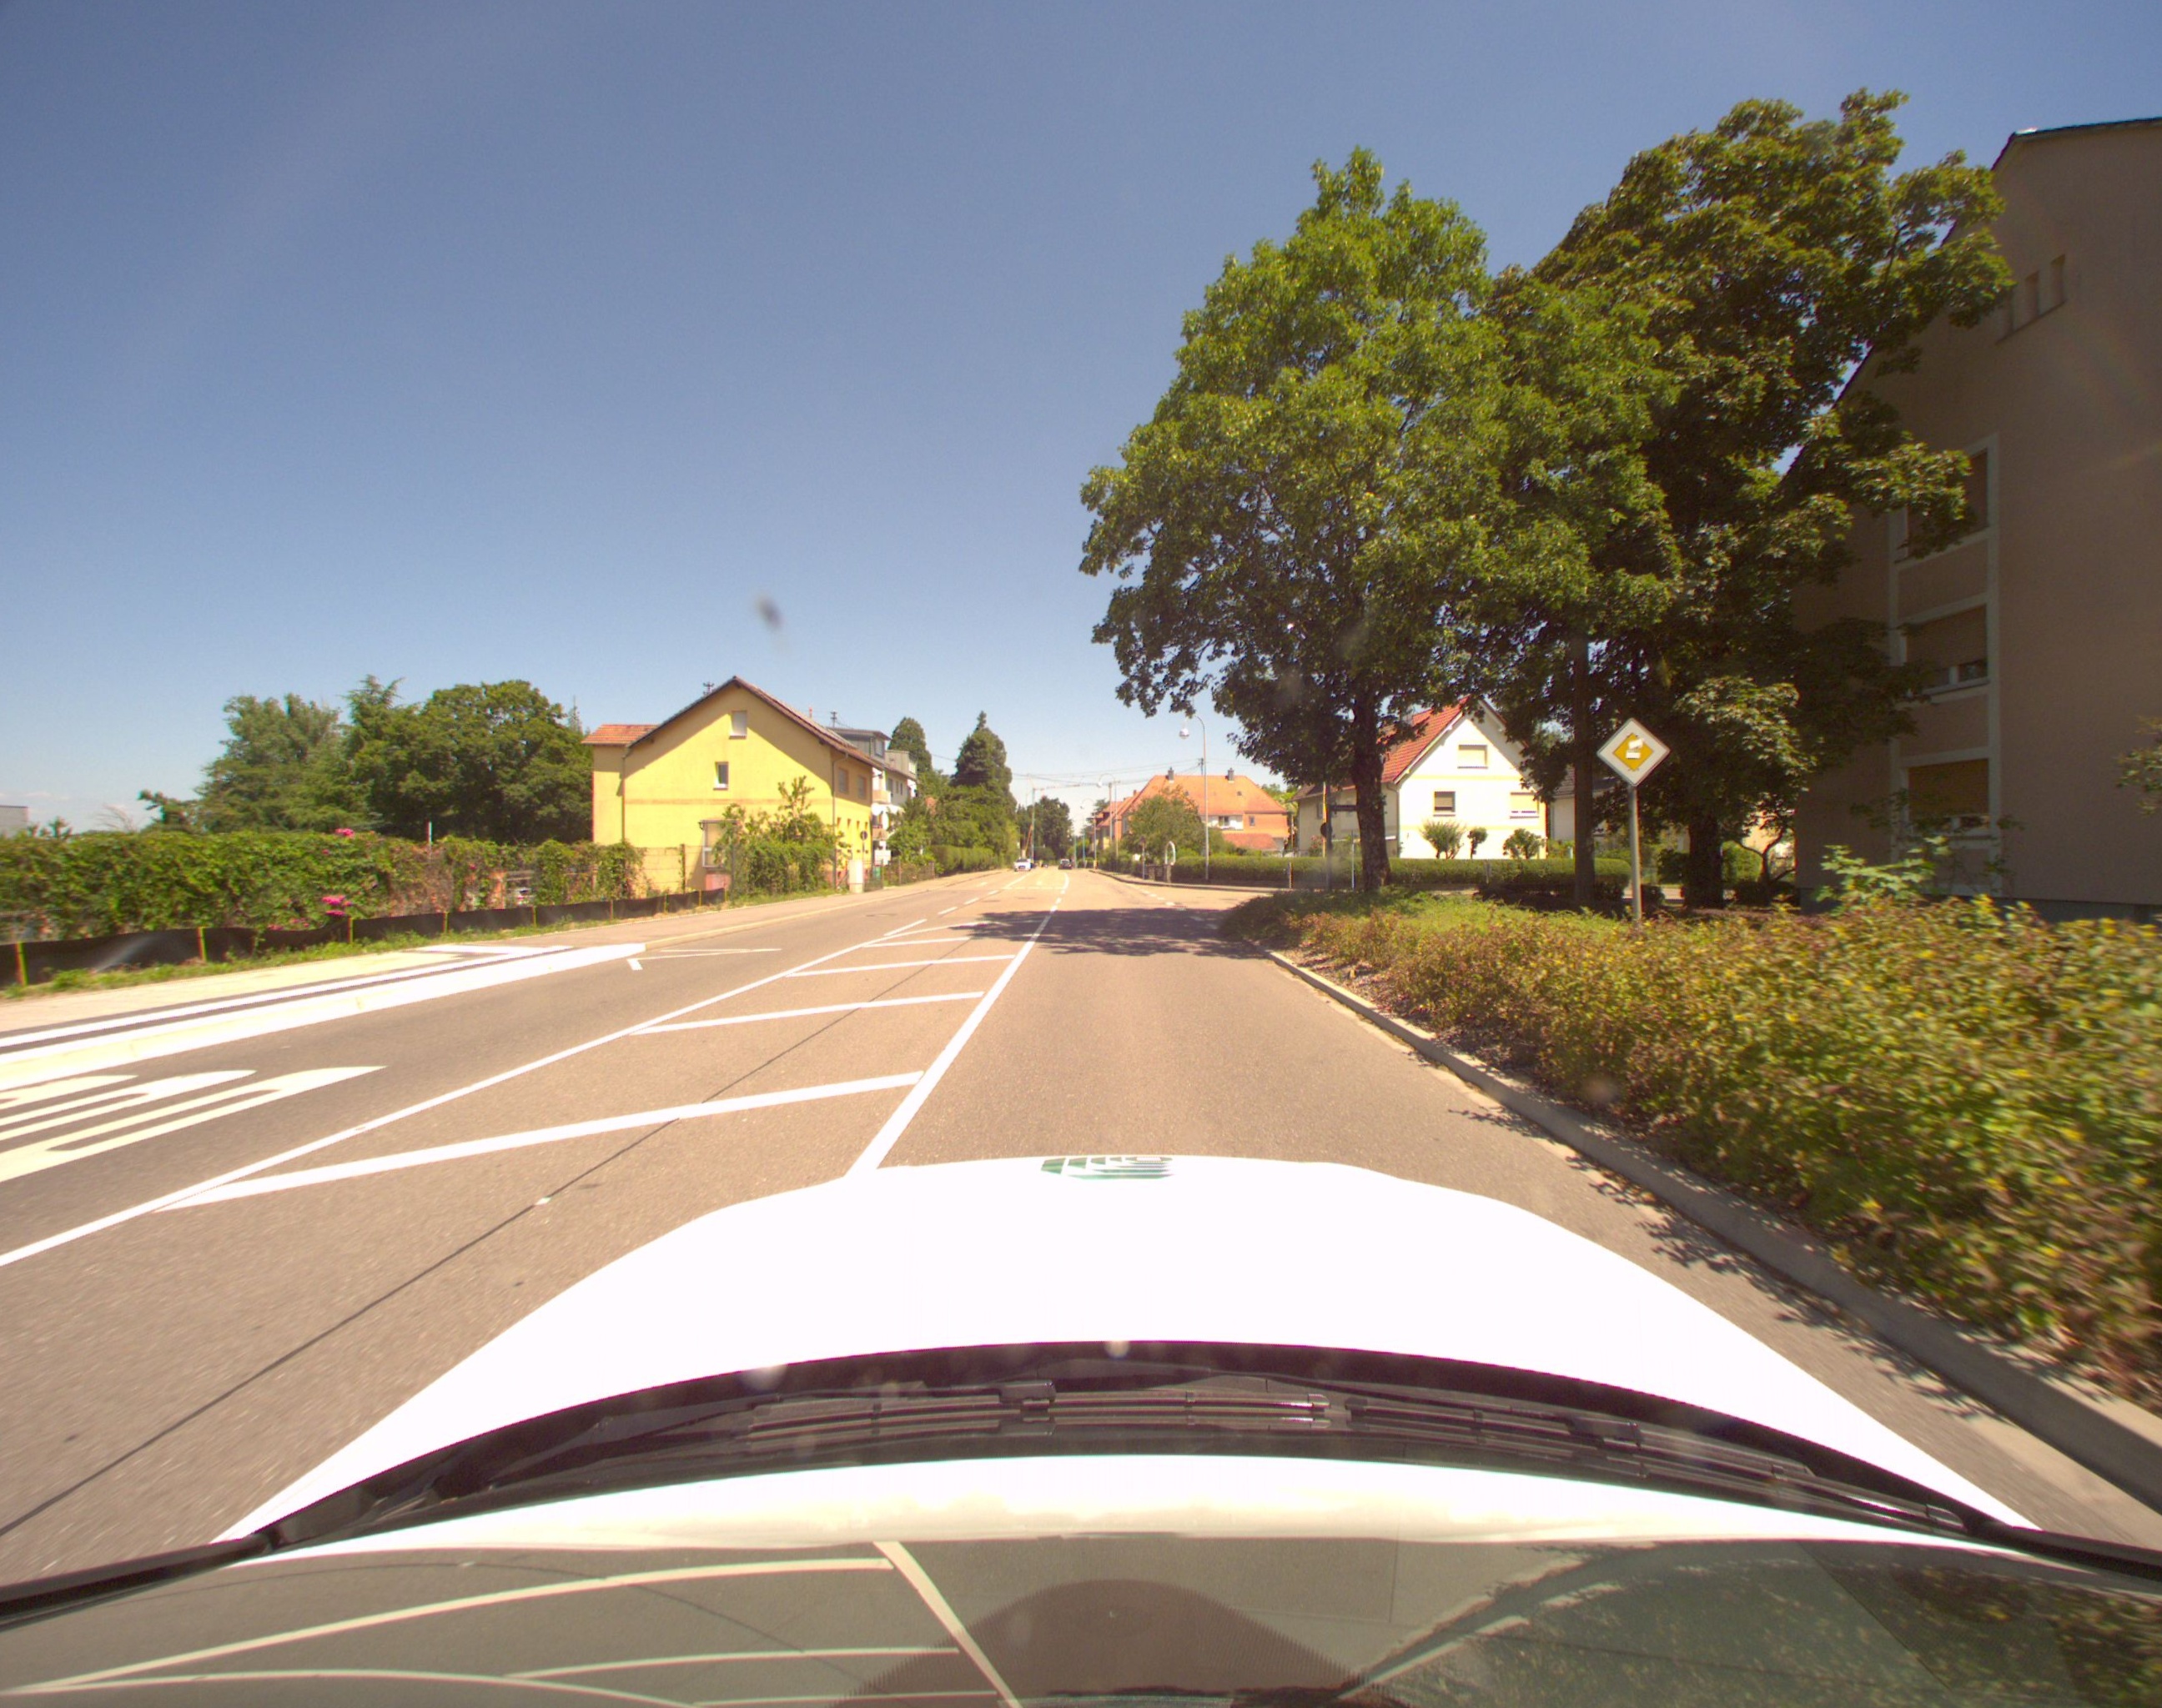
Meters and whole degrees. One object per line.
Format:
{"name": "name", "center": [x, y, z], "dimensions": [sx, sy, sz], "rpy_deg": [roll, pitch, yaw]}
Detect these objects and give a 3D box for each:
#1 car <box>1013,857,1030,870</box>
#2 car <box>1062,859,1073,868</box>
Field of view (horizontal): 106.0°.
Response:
{"name": "car", "center": [-6.769, 1.052, 92.546], "dimensions": [1.675, 1.372, 4.204], "rpy_deg": [-2, 0, -1]}
{"name": "car", "center": [-2.238, 1.637, 136.918], "dimensions": [1.689, 1.419, 4.545], "rpy_deg": [0, -2, -3]}
